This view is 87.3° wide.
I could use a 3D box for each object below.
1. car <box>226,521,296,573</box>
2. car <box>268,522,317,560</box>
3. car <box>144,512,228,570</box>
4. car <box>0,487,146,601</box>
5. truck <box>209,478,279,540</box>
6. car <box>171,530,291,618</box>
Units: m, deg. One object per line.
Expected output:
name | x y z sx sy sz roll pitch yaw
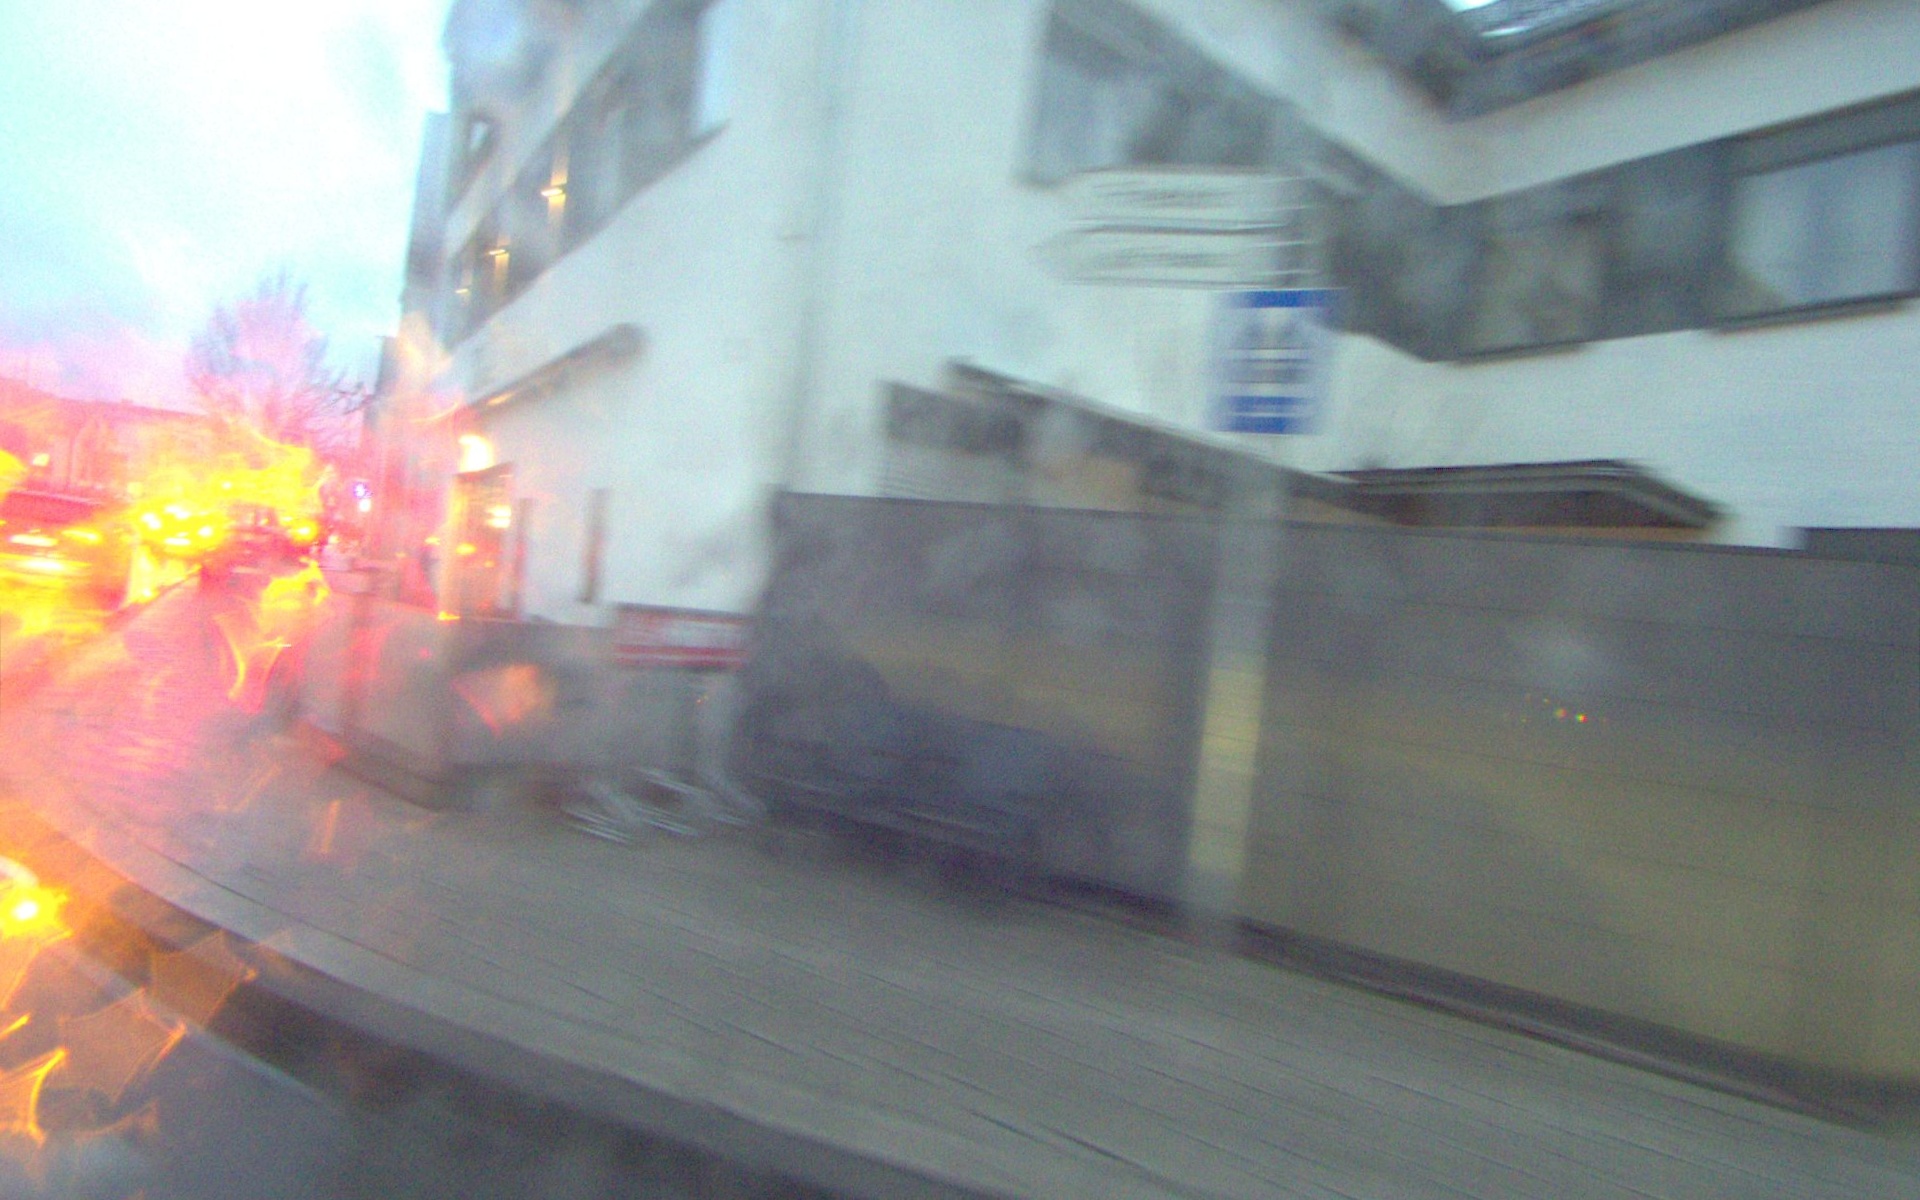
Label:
car | -24.249 -1.859 34.996 1.679 1.485 3.686 7 0 -32
car | -31.471 -2.792 47.536 1.679 1.485 3.686 7 0 -32
car | -26.588 -2.063 34.678 1.710 1.652 3.966 7 0 -31
car | -15.960 -1.038 17.802 1.904 1.635 3.913 7 0 -34
truck | -42.200 -5.332 59.441 2.696 3.047 5.940 7 0 -32
car | -16.458 -0.646 22.878 1.798 1.590 3.817 7 0 -32
